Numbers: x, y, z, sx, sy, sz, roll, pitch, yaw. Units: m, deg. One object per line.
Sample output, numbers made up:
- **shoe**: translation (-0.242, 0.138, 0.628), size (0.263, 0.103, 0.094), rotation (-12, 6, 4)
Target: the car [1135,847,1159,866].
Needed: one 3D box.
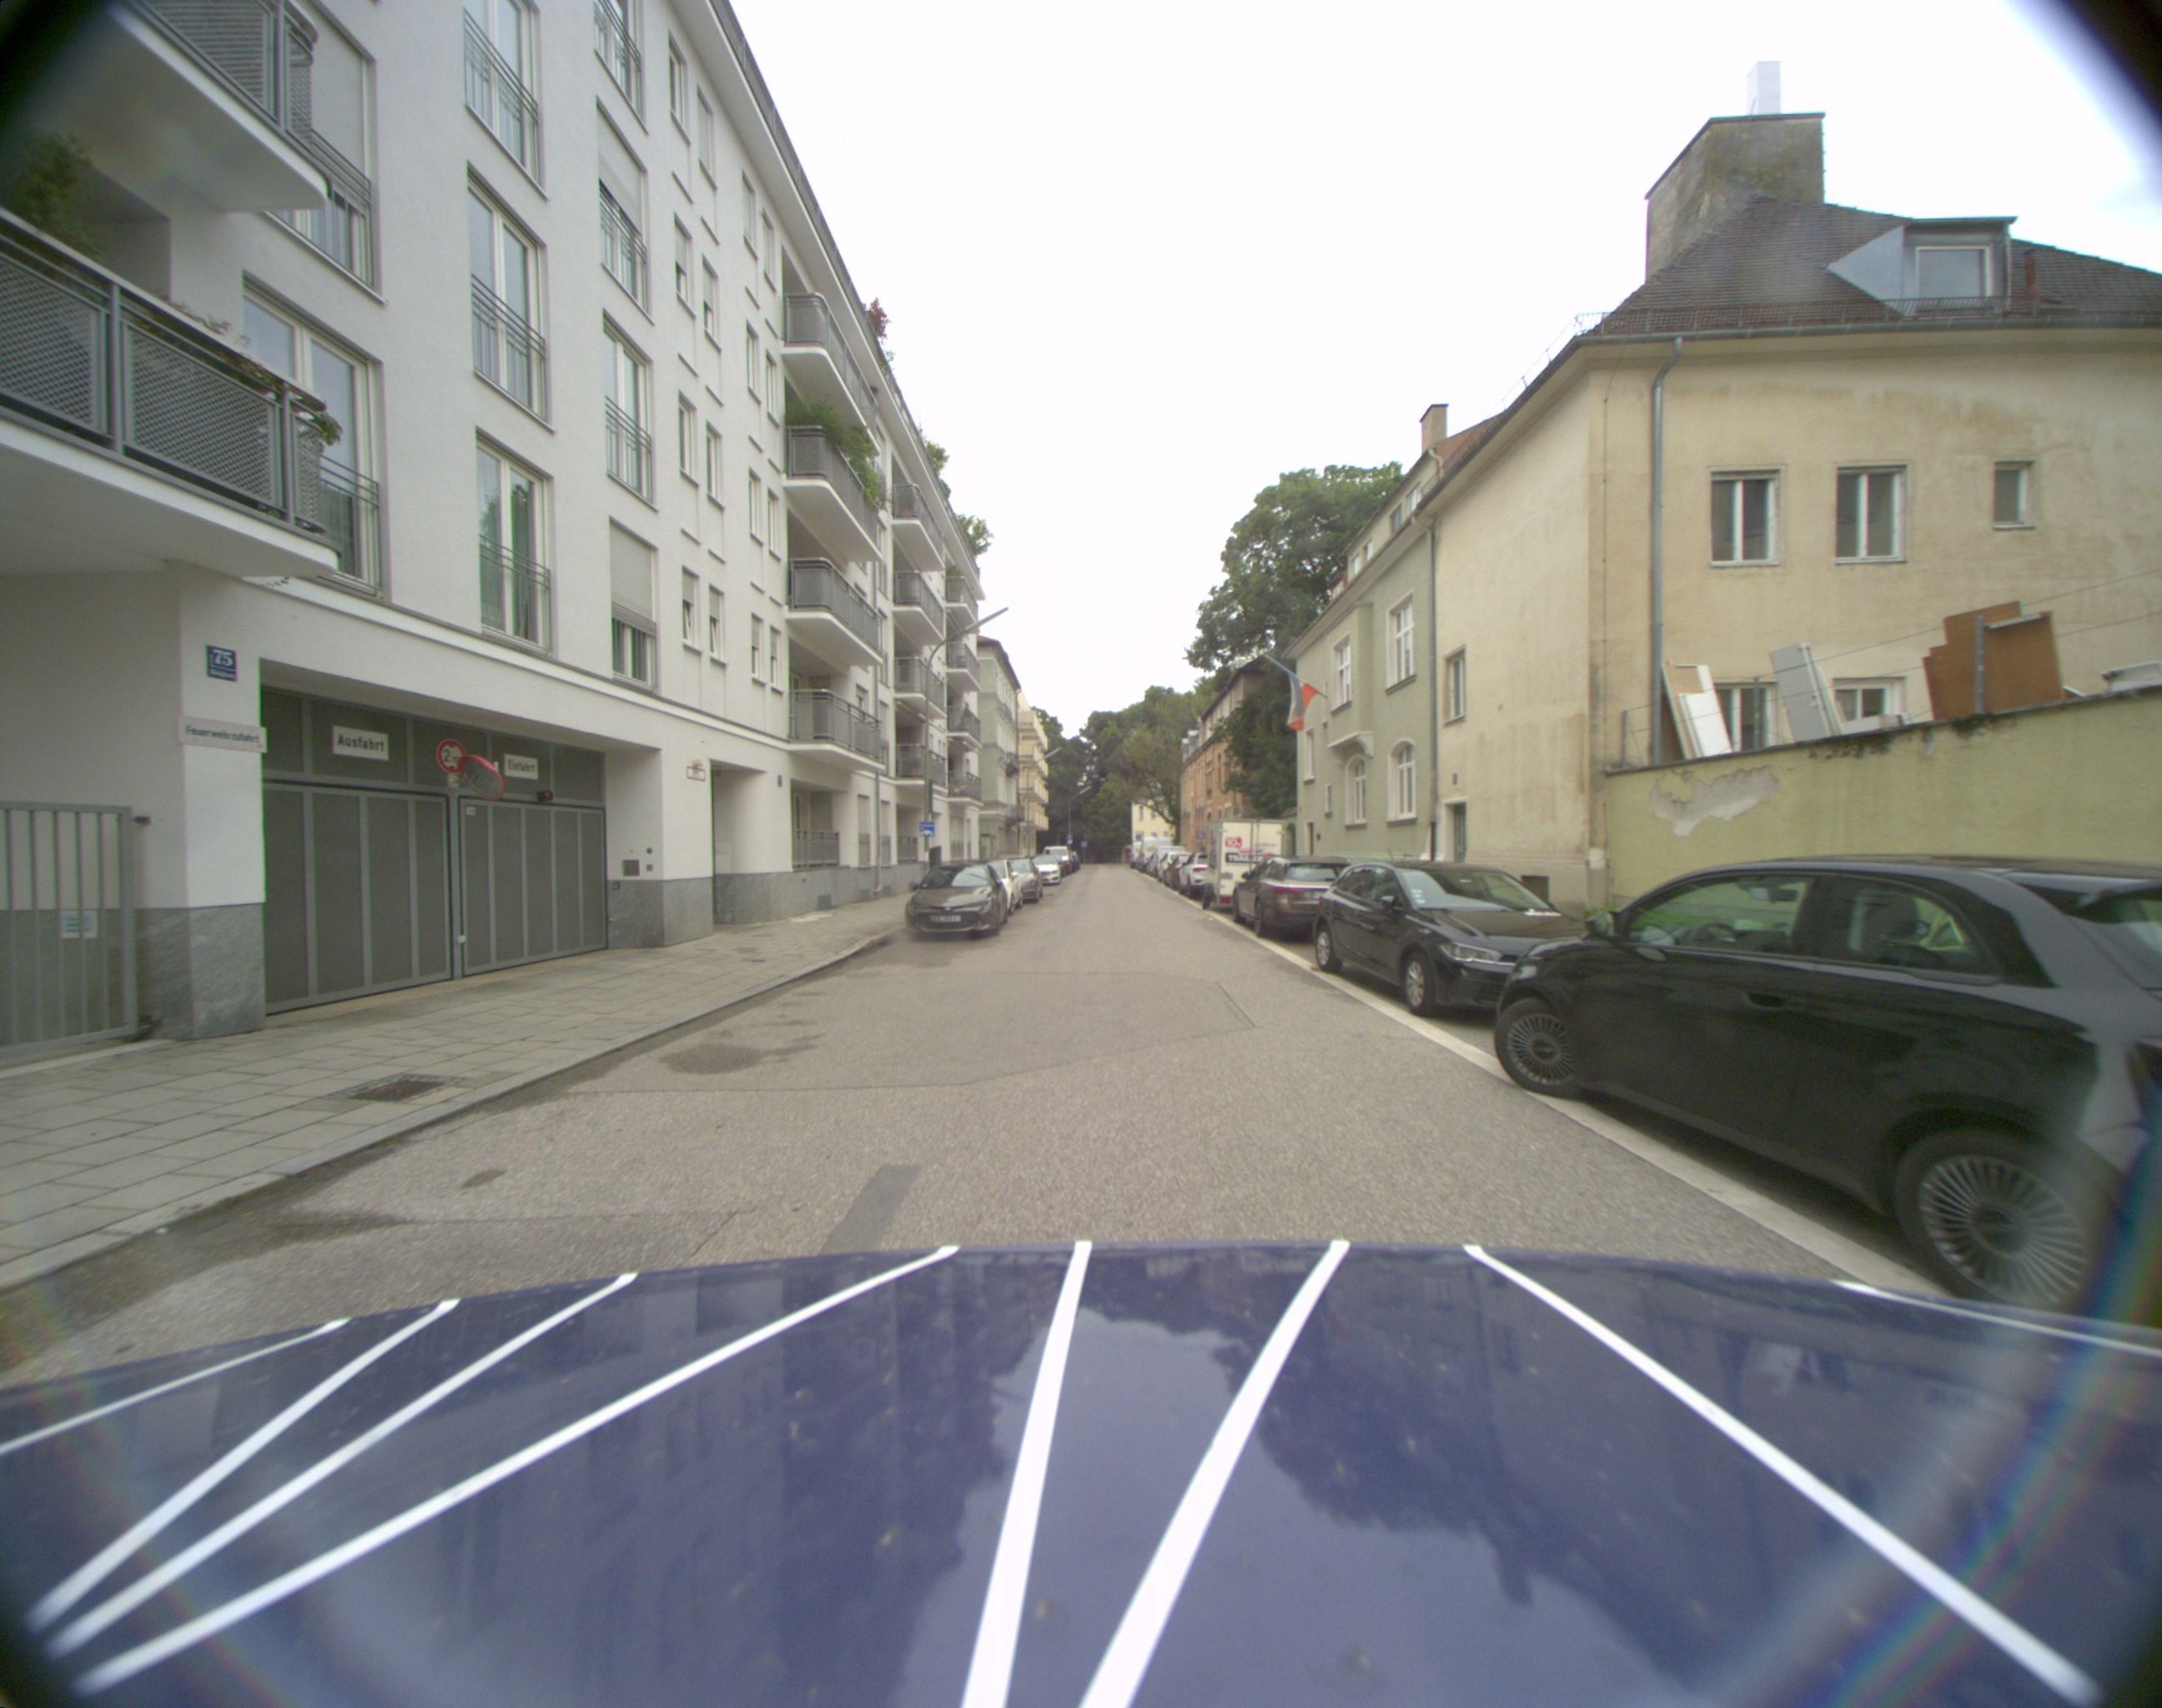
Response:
- **car**: translation (5.528, 0.171, 63.598), size (1.817, 1.526, 3.752), rotation (-1, 1, 3)

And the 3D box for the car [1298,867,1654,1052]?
- **car**: translation (3.855, 0.908, 8.329), size (1.697, 1.417, 4.069), rotation (0, 1, -1)

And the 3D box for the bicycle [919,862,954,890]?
- **bicycle**: translation (-5.655, 0.837, 29.823), size (0.580, 1.008, 1.955), rotation (-2, 1, 14)

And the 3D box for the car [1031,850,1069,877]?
- **car**: translation (-1.746, 0.518, 43.759), size (1.765, 1.449, 3.748), rotation (-1, 1, 4)

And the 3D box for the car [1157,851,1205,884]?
- **car**: translation (4.773, 0.609, 36.724), size (1.818, 1.444, 3.927), rotation (-1, 1, 0)

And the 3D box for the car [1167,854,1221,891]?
- **car**: translation (4.518, 0.725, 30.855), size (1.817, 1.339, 3.746), rotation (-1, 1, 3)

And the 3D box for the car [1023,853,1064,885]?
- **car**: translation (-1.776, 0.689, 37.298), size (1.766, 1.449, 3.747), rotation (-1, 1, 0)

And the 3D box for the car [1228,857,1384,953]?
- **car**: translation (4.088, 0.834, 14.621), size (1.817, 1.491, 4.643), rotation (0, 1, 3)

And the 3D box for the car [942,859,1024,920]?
- **car**: translation (-2.593, 0.915, 20.831), size (1.766, 1.449, 3.417), rotation (-1, 1, 0)

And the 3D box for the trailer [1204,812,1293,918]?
- **trailer**: translation (4.362, 0.245, 20.235), size (1.817, 2.521, 3.390), rotation (3, 1, 6)

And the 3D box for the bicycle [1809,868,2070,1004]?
- **bicycle**: translation (8.303, 0.735, 7.484), size (0.580, 1.125, 1.742), rotation (-1, 1, -1)

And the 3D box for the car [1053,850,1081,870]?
- **car**: translation (-1.030, 0.431, 57.955), size (1.871, 1.455, 4.268), rotation (-1, 1, 2)

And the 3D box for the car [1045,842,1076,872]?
- **car**: translation (-1.356, 0.173, 52.341), size (1.871, 2.002, 4.268), rotation (-1, 1, 2)

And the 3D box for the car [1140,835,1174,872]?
- **car**: translation (5.267, -0.061, 52.995), size (2.104, 2.418, 4.549), rotation (-1, 1, 3)

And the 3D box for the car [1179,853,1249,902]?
- **car**: translation (4.417, 0.740, 25.700), size (1.767, 1.505, 3.842), rotation (0, 1, 1)

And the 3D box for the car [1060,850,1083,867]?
- **car**: translation (-0.839, 0.394, 68.202), size (1.871, 1.455, 4.268), rotation (-1, 1, 2)

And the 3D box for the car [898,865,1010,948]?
- **car**: translation (-2.511, 0.984, 16.009), size (1.784, 1.385, 4.245), rotation (-1, 1, -2)

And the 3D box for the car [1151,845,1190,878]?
- **car**: translation (4.965, 0.372, 42.696), size (1.817, 1.724, 3.649), rotation (-1, 1, 1)

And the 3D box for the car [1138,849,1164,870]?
- **car**: translation (5.361, 0.412, 58.698), size (1.817, 1.526, 3.748), rotation (-1, 1, 3)

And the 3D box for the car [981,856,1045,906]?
- **car**: translation (-2.193, 0.842, 25.456), size (1.766, 1.449, 3.747), rotation (-1, 1, 0)

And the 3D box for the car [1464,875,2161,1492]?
- **car**: translation (3.602, 0.920, 3.536), size (1.706, 1.485, 3.488), rotation (-1, 1, -4)

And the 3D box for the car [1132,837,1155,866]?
- **car**: translation (5.675, -0.206, 69.458), size (1.880, 2.539, 4.370), rotation (-1, 1, 3)
